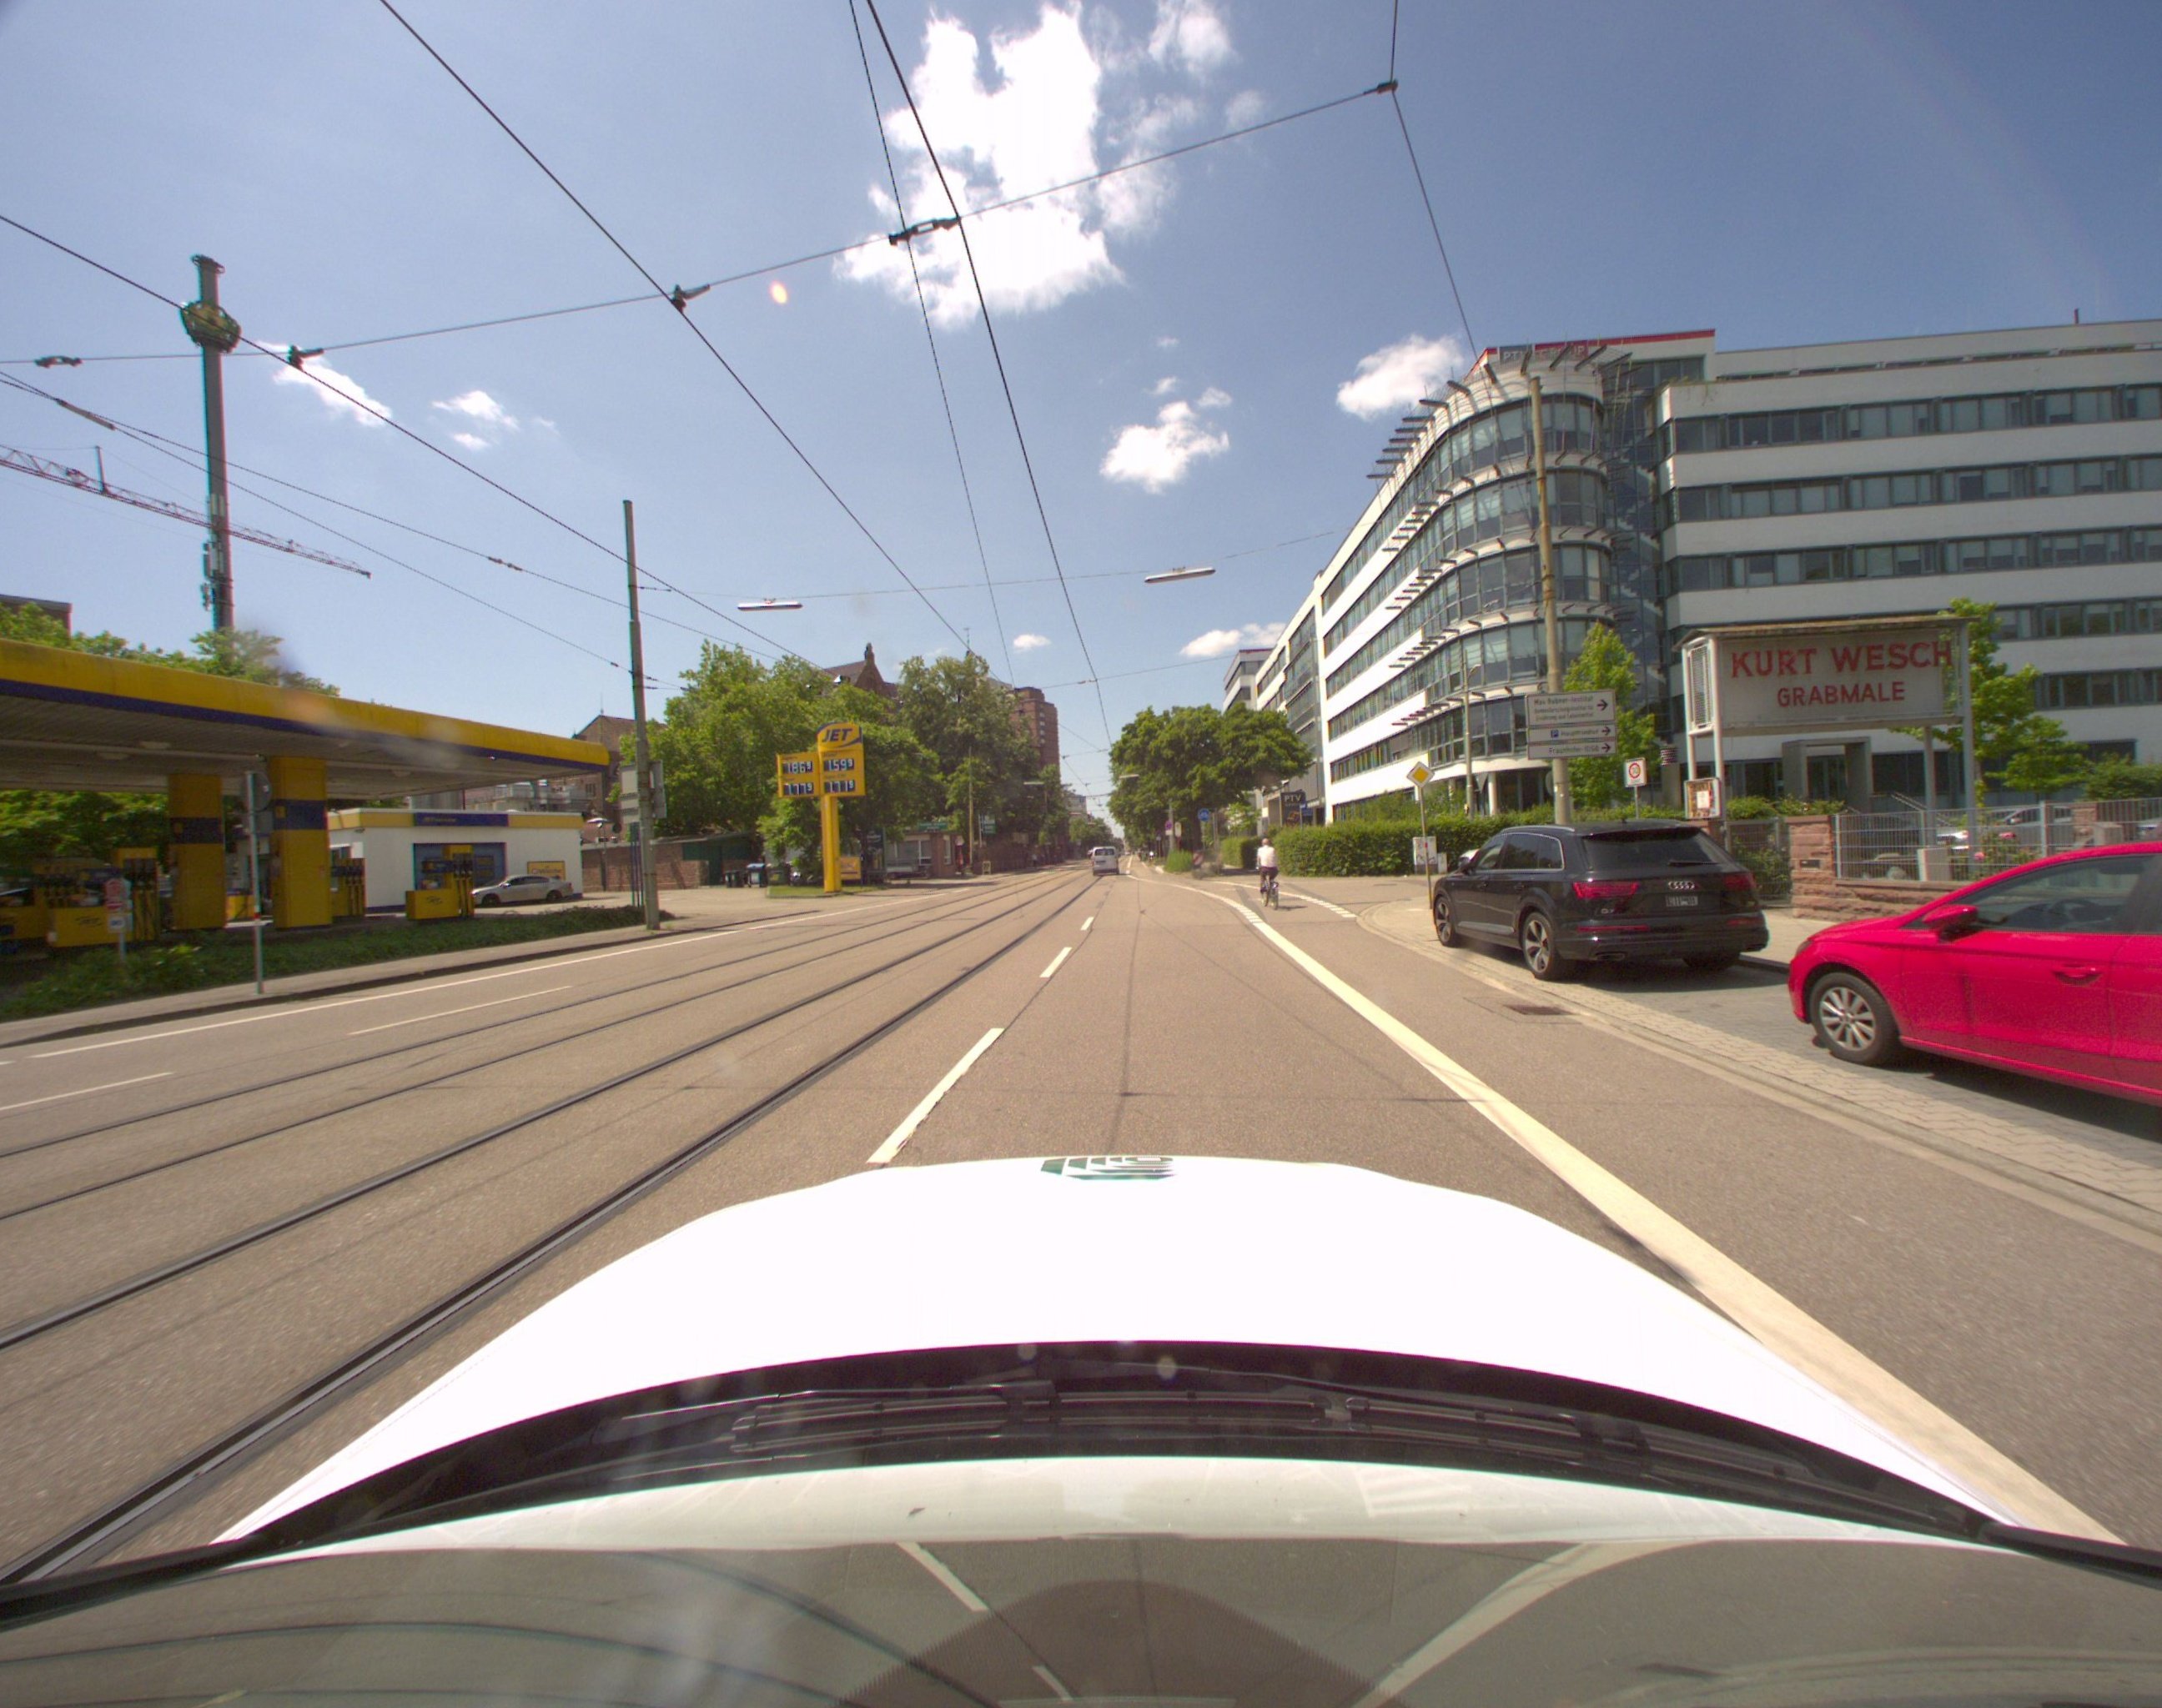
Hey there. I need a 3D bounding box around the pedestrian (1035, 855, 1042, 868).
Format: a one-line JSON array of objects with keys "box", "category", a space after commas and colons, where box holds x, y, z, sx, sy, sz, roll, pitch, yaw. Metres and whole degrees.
[{"box": [-5.788, 1.054, 110.643, 0.674, 1.727, 0.983, -5, -1, 1], "category": "pedestrian"}]

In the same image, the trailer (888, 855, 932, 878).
[{"box": [-12.131, 0.862, 57.907, 2.715, 1.526, 1.331, -2, -1, 4], "category": "trailer"}]

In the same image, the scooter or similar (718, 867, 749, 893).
[{"box": [-21.218, 1.575, 49.713, 1.304, 1.466, 1.063, -2, 0, 15], "category": "scooter or similar"}]

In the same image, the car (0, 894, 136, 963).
[{"box": [-29.381, 2.123, 22.616, 1.583, 1.703, 3.793, -5, -1, 29], "category": "car"}]

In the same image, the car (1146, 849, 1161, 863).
[{"box": [8.989, 0.288, 101.312, 1.580, 1.489, 3.456, -5, -1, 1], "category": "car"}]

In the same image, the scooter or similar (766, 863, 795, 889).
[{"box": [-17.670, 1.297, 47.913, 1.166, 1.466, 1.062, -3, -1, 9], "category": "scooter or similar"}]

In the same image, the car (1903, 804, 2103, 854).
[{"box": [29.409, -0.774, 26.101, 3.969, 1.367, 2.002, -3, 0, 4], "category": "car"}]

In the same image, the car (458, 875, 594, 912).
[{"box": [-26.255, 1.841, 38.772, 1.818, 1.365, 5.039, -3, 0, 27], "category": "car"}]

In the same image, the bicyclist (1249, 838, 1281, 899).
[{"box": [4.348, 0.339, 19.278, 0.588, 1.397, 0.843, -3, 0, 6], "category": "bicyclist"}]

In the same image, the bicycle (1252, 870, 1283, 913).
[{"box": [4.401, 0.865, 19.304, 0.463, 0.887, 2.052, -3, 0, 7], "category": "bicycle"}]

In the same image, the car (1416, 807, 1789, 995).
[{"box": [5.989, 0.443, 10.266, 1.853, 1.687, 5.009, -4, 0, 6], "category": "car"}]

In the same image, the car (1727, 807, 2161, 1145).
[{"box": [5.692, 0.516, 4.126, 1.704, 1.452, 4.077, -5, 0, 4], "category": "car"}]

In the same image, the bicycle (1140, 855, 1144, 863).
[{"box": [8.211, 0.674, 110.050, 0.386, 0.964, 1.699, -5, -1, 1], "category": "bicycle"}]

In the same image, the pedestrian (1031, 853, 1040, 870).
[{"box": [-5.455, 0.914, 96.816, 0.860, 2.013, 0.646, -5, -1, 1], "category": "pedestrian"}]

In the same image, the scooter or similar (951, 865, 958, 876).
[{"box": [-9.945, 1.270, 64.243, 0.430, 0.863, 0.500, -3, -1, 1], "category": "scooter or similar"}]

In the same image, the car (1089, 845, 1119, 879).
[{"box": [1.520, 0.507, 53.525, 1.746, 2.013, 4.002, -4, 0, 2], "category": "car"}]

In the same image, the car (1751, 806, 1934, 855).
[{"box": [24.708, -0.739, 26.545, 3.969, 1.334, 2.002, -3, 0, 4], "category": "car"}]

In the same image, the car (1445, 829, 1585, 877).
[{"box": [14.454, -0.031, 27.247, 3.782, 1.275, 1.557, -4, 0, 4], "category": "car"}]

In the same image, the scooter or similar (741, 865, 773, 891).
[{"box": [-19.334, 1.408, 48.600, 1.304, 1.466, 1.063, -3, -1, 15], "category": "scooter or similar"}]
